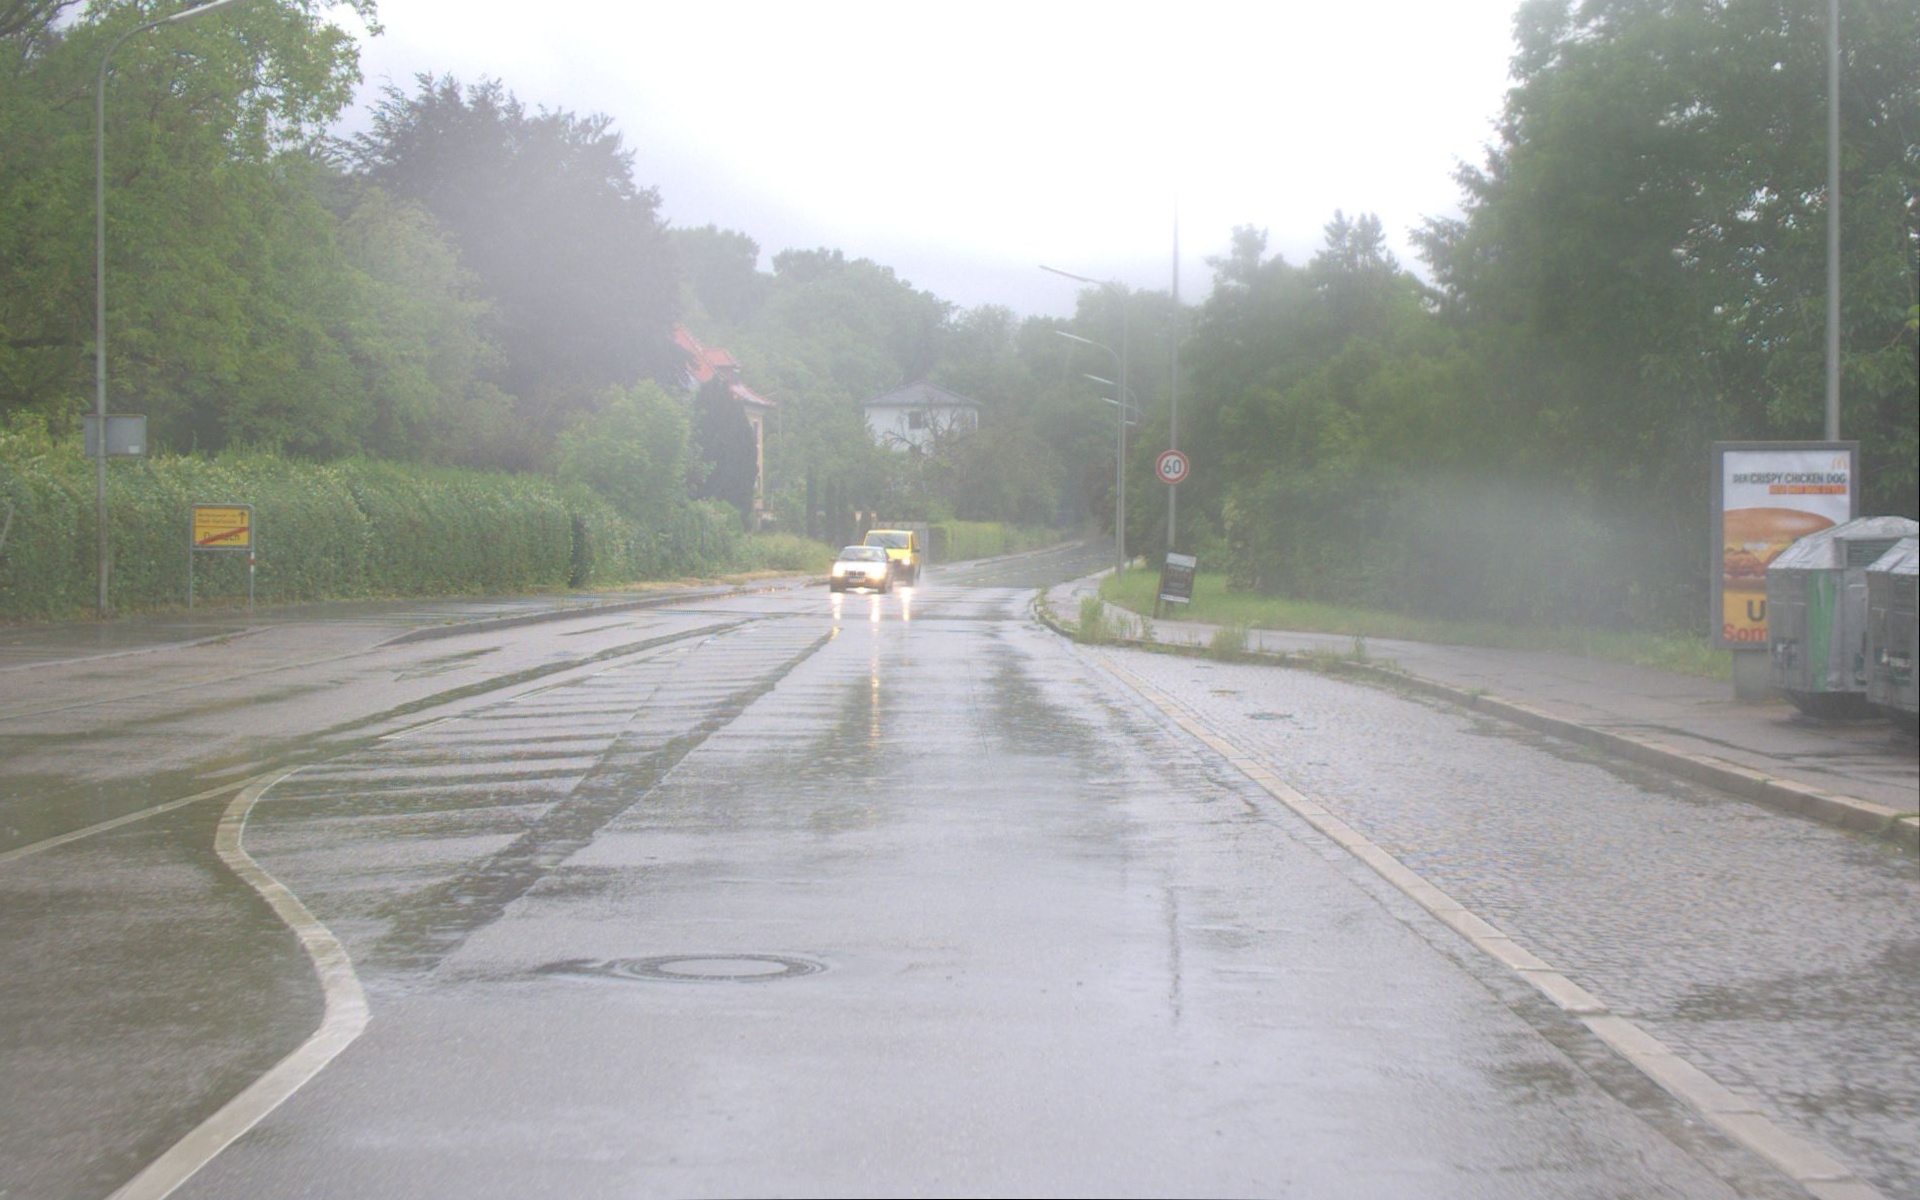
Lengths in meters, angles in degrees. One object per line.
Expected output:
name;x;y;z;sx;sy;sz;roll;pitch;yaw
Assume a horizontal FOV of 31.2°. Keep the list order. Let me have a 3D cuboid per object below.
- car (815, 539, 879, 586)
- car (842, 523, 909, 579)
car;-3.341;-1.119;102.065;1.701;1.345;3.905;1;1;1
car;-2.911;-1.723;119.210;1.937;1.865;5.036;1;1;3
